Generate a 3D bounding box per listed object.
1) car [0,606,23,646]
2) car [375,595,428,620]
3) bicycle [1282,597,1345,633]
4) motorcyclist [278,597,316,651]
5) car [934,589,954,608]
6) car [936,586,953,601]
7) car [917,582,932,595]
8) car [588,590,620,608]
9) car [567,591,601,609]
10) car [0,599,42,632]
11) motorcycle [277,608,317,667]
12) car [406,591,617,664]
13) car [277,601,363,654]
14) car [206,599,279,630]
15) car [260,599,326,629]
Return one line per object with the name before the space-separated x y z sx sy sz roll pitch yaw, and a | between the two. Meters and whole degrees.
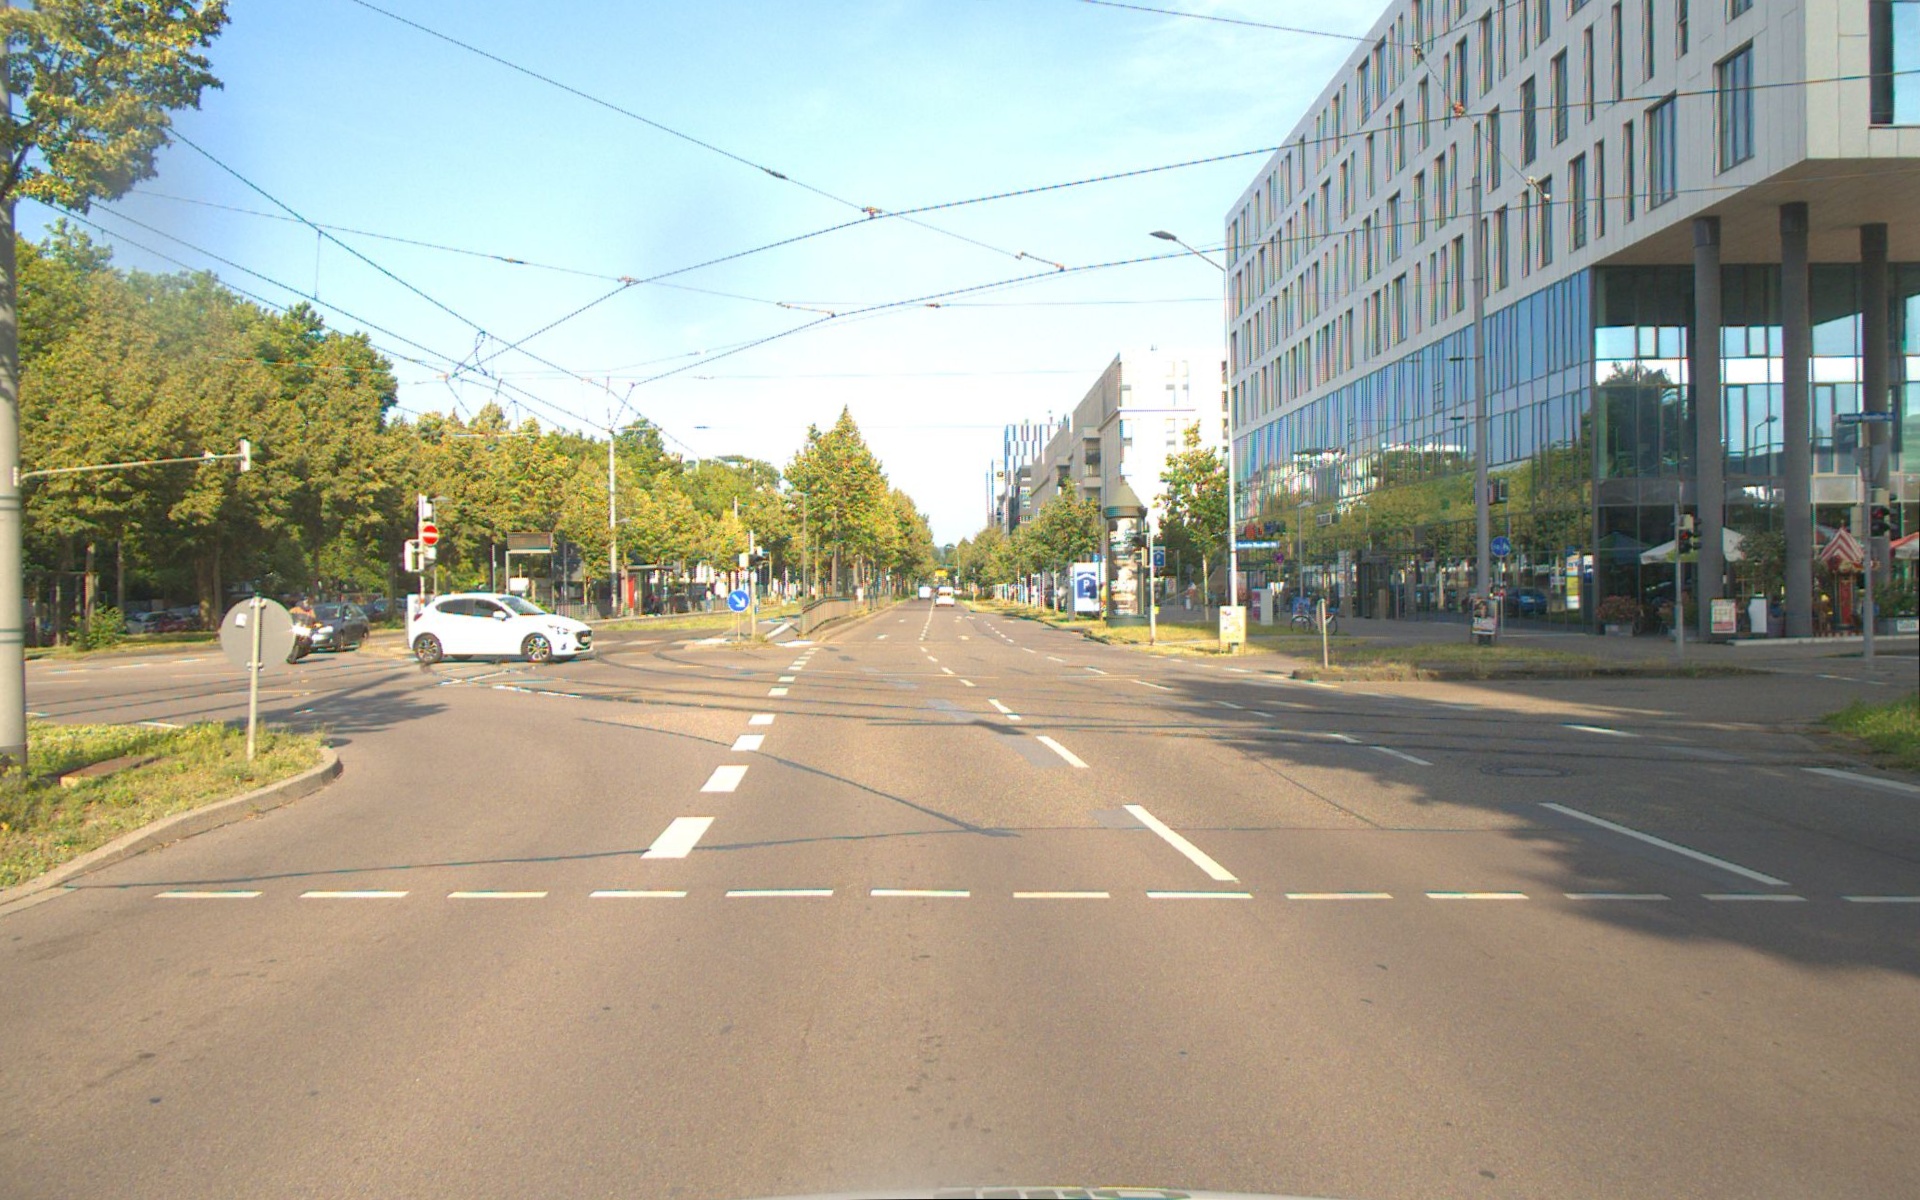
car | -39.339 1.056 65.591 1.841 1.586 4.002 -1 0 4
car | -36.462 0.468 108.133 1.841 1.586 4.002 -1 0 4
bicycle | 11.356 0.468 53.151 0.768 1.050 1.848 -1 3 -44
motorcyclist | -15.500 0.562 38.667 0.772 1.224 0.841 1 1 -25
car | -1.506 -0.154 153.786 1.826 1.713 4.000 1 1 0
car | -1.777 -0.748 186.760 1.826 1.713 4.000 1 1 0
car | -4.817 -1.639 226.425 1.973 1.713 4.000 1 1 0
car | -33.427 -0.077 155.429 1.841 1.586 4.002 -1 0 4
car | -33.868 0.004 148.999 1.841 1.586 4.002 -1 0 4
car | -46.669 0.761 80.223 1.841 1.586 4.002 -1 0 4
motorcycle | -15.516 0.848 38.679 0.807 1.285 2.531 0 1 -23
car | -9.800 0.570 36.269 3.992 1.530 2.002 0 0 12
car | -19.334 0.813 50.105 1.699 1.487 4.560 -1 -1 -12
car | -38.136 0.764 88.002 1.841 1.586 4.002 -1 0 4
car | -37.718 0.780 93.581 1.841 1.586 4.002 -1 0 4
